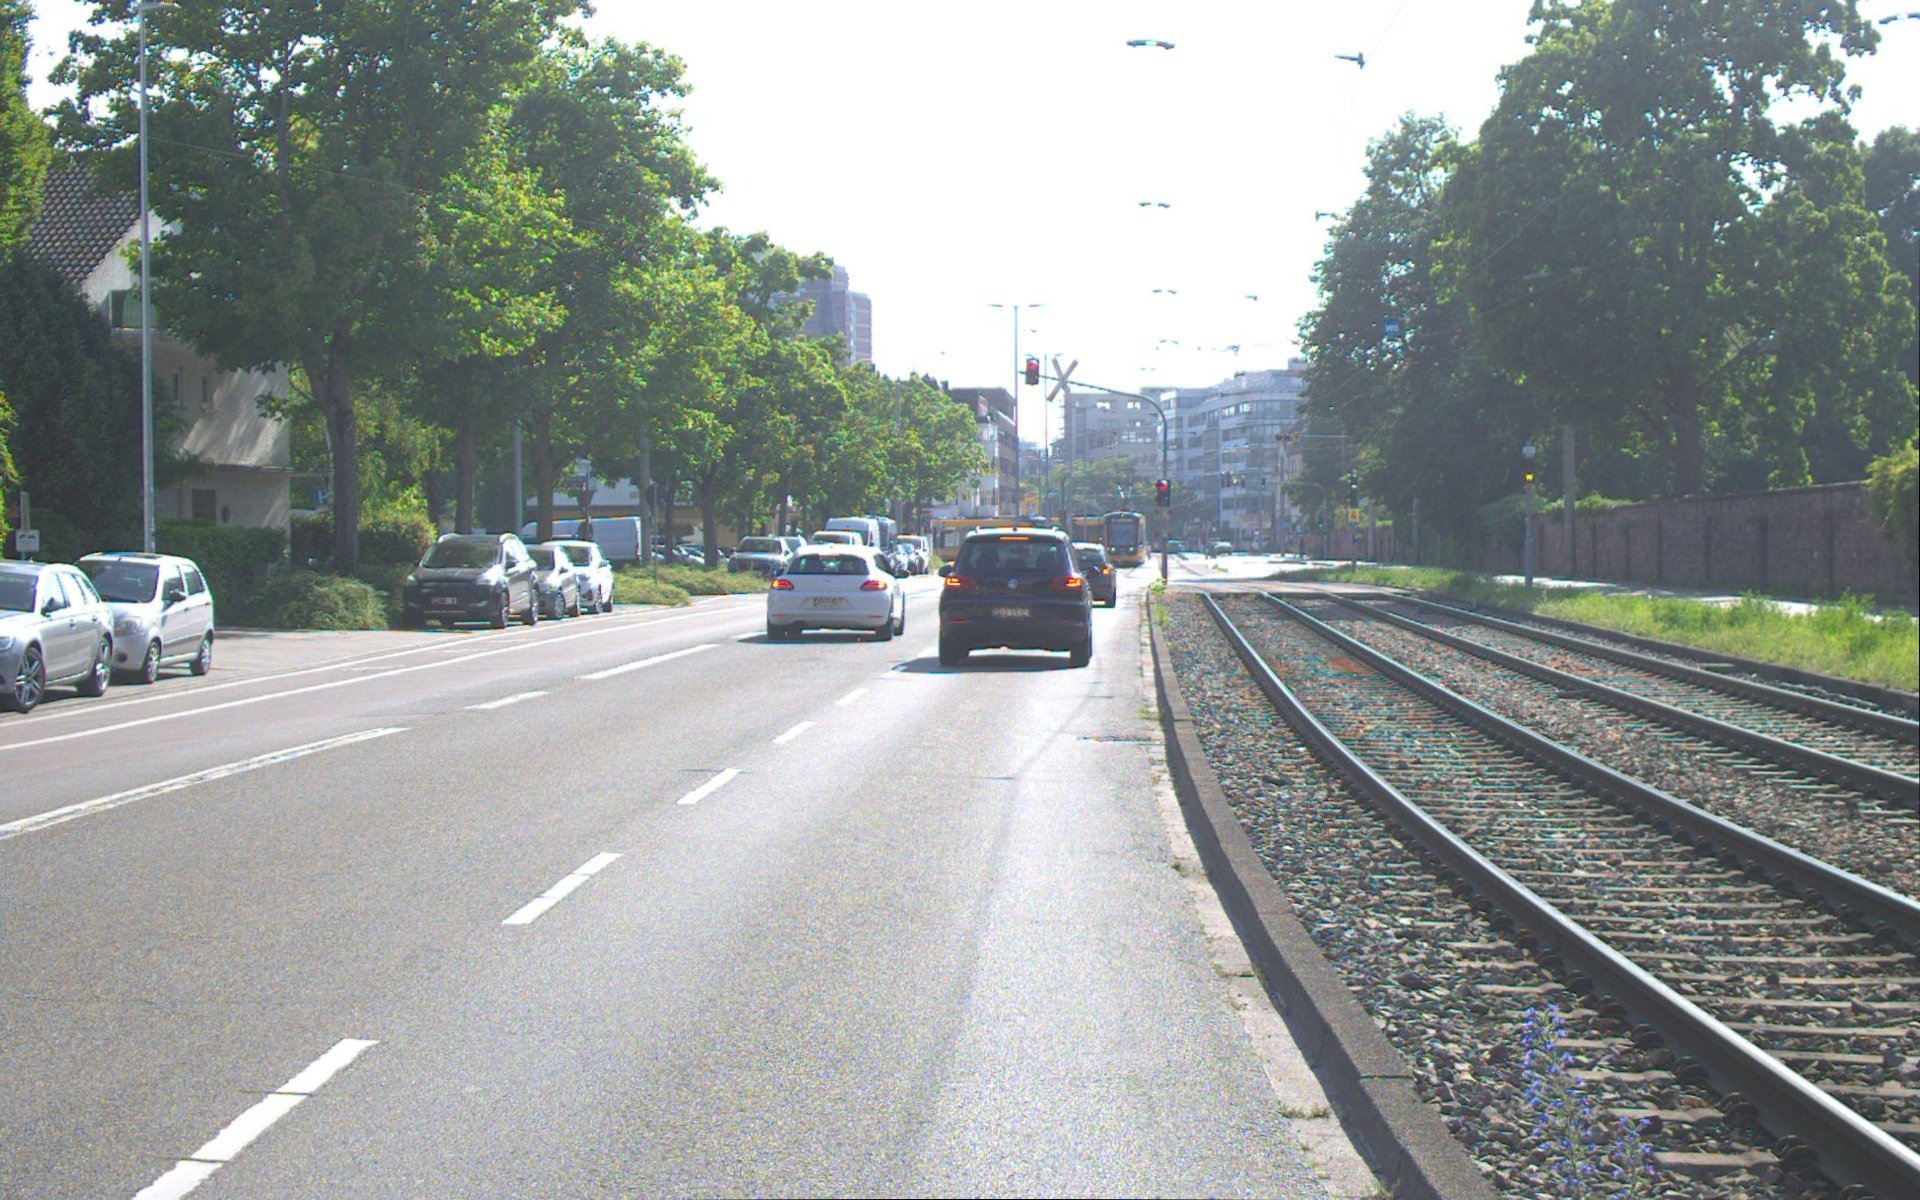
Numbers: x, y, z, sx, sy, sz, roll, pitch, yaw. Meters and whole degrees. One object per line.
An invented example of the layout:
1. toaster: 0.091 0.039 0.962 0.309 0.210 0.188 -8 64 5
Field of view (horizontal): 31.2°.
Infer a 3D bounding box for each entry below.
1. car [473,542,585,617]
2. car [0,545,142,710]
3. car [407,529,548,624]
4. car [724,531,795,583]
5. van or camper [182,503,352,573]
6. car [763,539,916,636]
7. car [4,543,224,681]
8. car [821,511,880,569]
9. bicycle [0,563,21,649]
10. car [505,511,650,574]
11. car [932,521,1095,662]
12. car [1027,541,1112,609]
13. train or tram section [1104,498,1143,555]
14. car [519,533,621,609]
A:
1. car: -8.642 -0.437 69.154 1.677 1.463 3.968 0 1 1
2. car: -10.215 0.228 36.590 1.749 1.505 4.756 4 1 0
3. car: -8.854 -0.465 63.451 1.712 1.688 4.422 0 1 4
4. car: -6.518 -1.419 112.029 1.732 1.652 4.000 0 1 5
5. van or camper: -28.458 -2.539 141.239 6.465 2.858 2.307 0 1 4
6. car: -1.736 -0.215 50.733 1.865 1.343 4.000 0 1 3
7. car: -10.277 0.108 41.981 1.601 1.489 3.509 4 1 2
8. car: -4.503 -2.473 141.802 1.864 2.339 4.984 0 1 5
9. bicycle: -13.095 0.080 45.718 0.443 1.150 1.784 0 0 10
10. car: -15.088 -2.270 135.677 5.376 2.415 2.087 0 1 4
11. car: 0.701 -0.129 42.280 1.811 1.639 4.000 1 1 3
12. car: 2.510 -0.584 78.223 1.811 1.444 4.000 1 1 3
13. train or tram section: 10.434 -4.662 218.246 2.327 3.558 8.899 0 1 3
14. car: -8.463 -0.653 74.873 1.601 1.545 3.894 2 1 2
